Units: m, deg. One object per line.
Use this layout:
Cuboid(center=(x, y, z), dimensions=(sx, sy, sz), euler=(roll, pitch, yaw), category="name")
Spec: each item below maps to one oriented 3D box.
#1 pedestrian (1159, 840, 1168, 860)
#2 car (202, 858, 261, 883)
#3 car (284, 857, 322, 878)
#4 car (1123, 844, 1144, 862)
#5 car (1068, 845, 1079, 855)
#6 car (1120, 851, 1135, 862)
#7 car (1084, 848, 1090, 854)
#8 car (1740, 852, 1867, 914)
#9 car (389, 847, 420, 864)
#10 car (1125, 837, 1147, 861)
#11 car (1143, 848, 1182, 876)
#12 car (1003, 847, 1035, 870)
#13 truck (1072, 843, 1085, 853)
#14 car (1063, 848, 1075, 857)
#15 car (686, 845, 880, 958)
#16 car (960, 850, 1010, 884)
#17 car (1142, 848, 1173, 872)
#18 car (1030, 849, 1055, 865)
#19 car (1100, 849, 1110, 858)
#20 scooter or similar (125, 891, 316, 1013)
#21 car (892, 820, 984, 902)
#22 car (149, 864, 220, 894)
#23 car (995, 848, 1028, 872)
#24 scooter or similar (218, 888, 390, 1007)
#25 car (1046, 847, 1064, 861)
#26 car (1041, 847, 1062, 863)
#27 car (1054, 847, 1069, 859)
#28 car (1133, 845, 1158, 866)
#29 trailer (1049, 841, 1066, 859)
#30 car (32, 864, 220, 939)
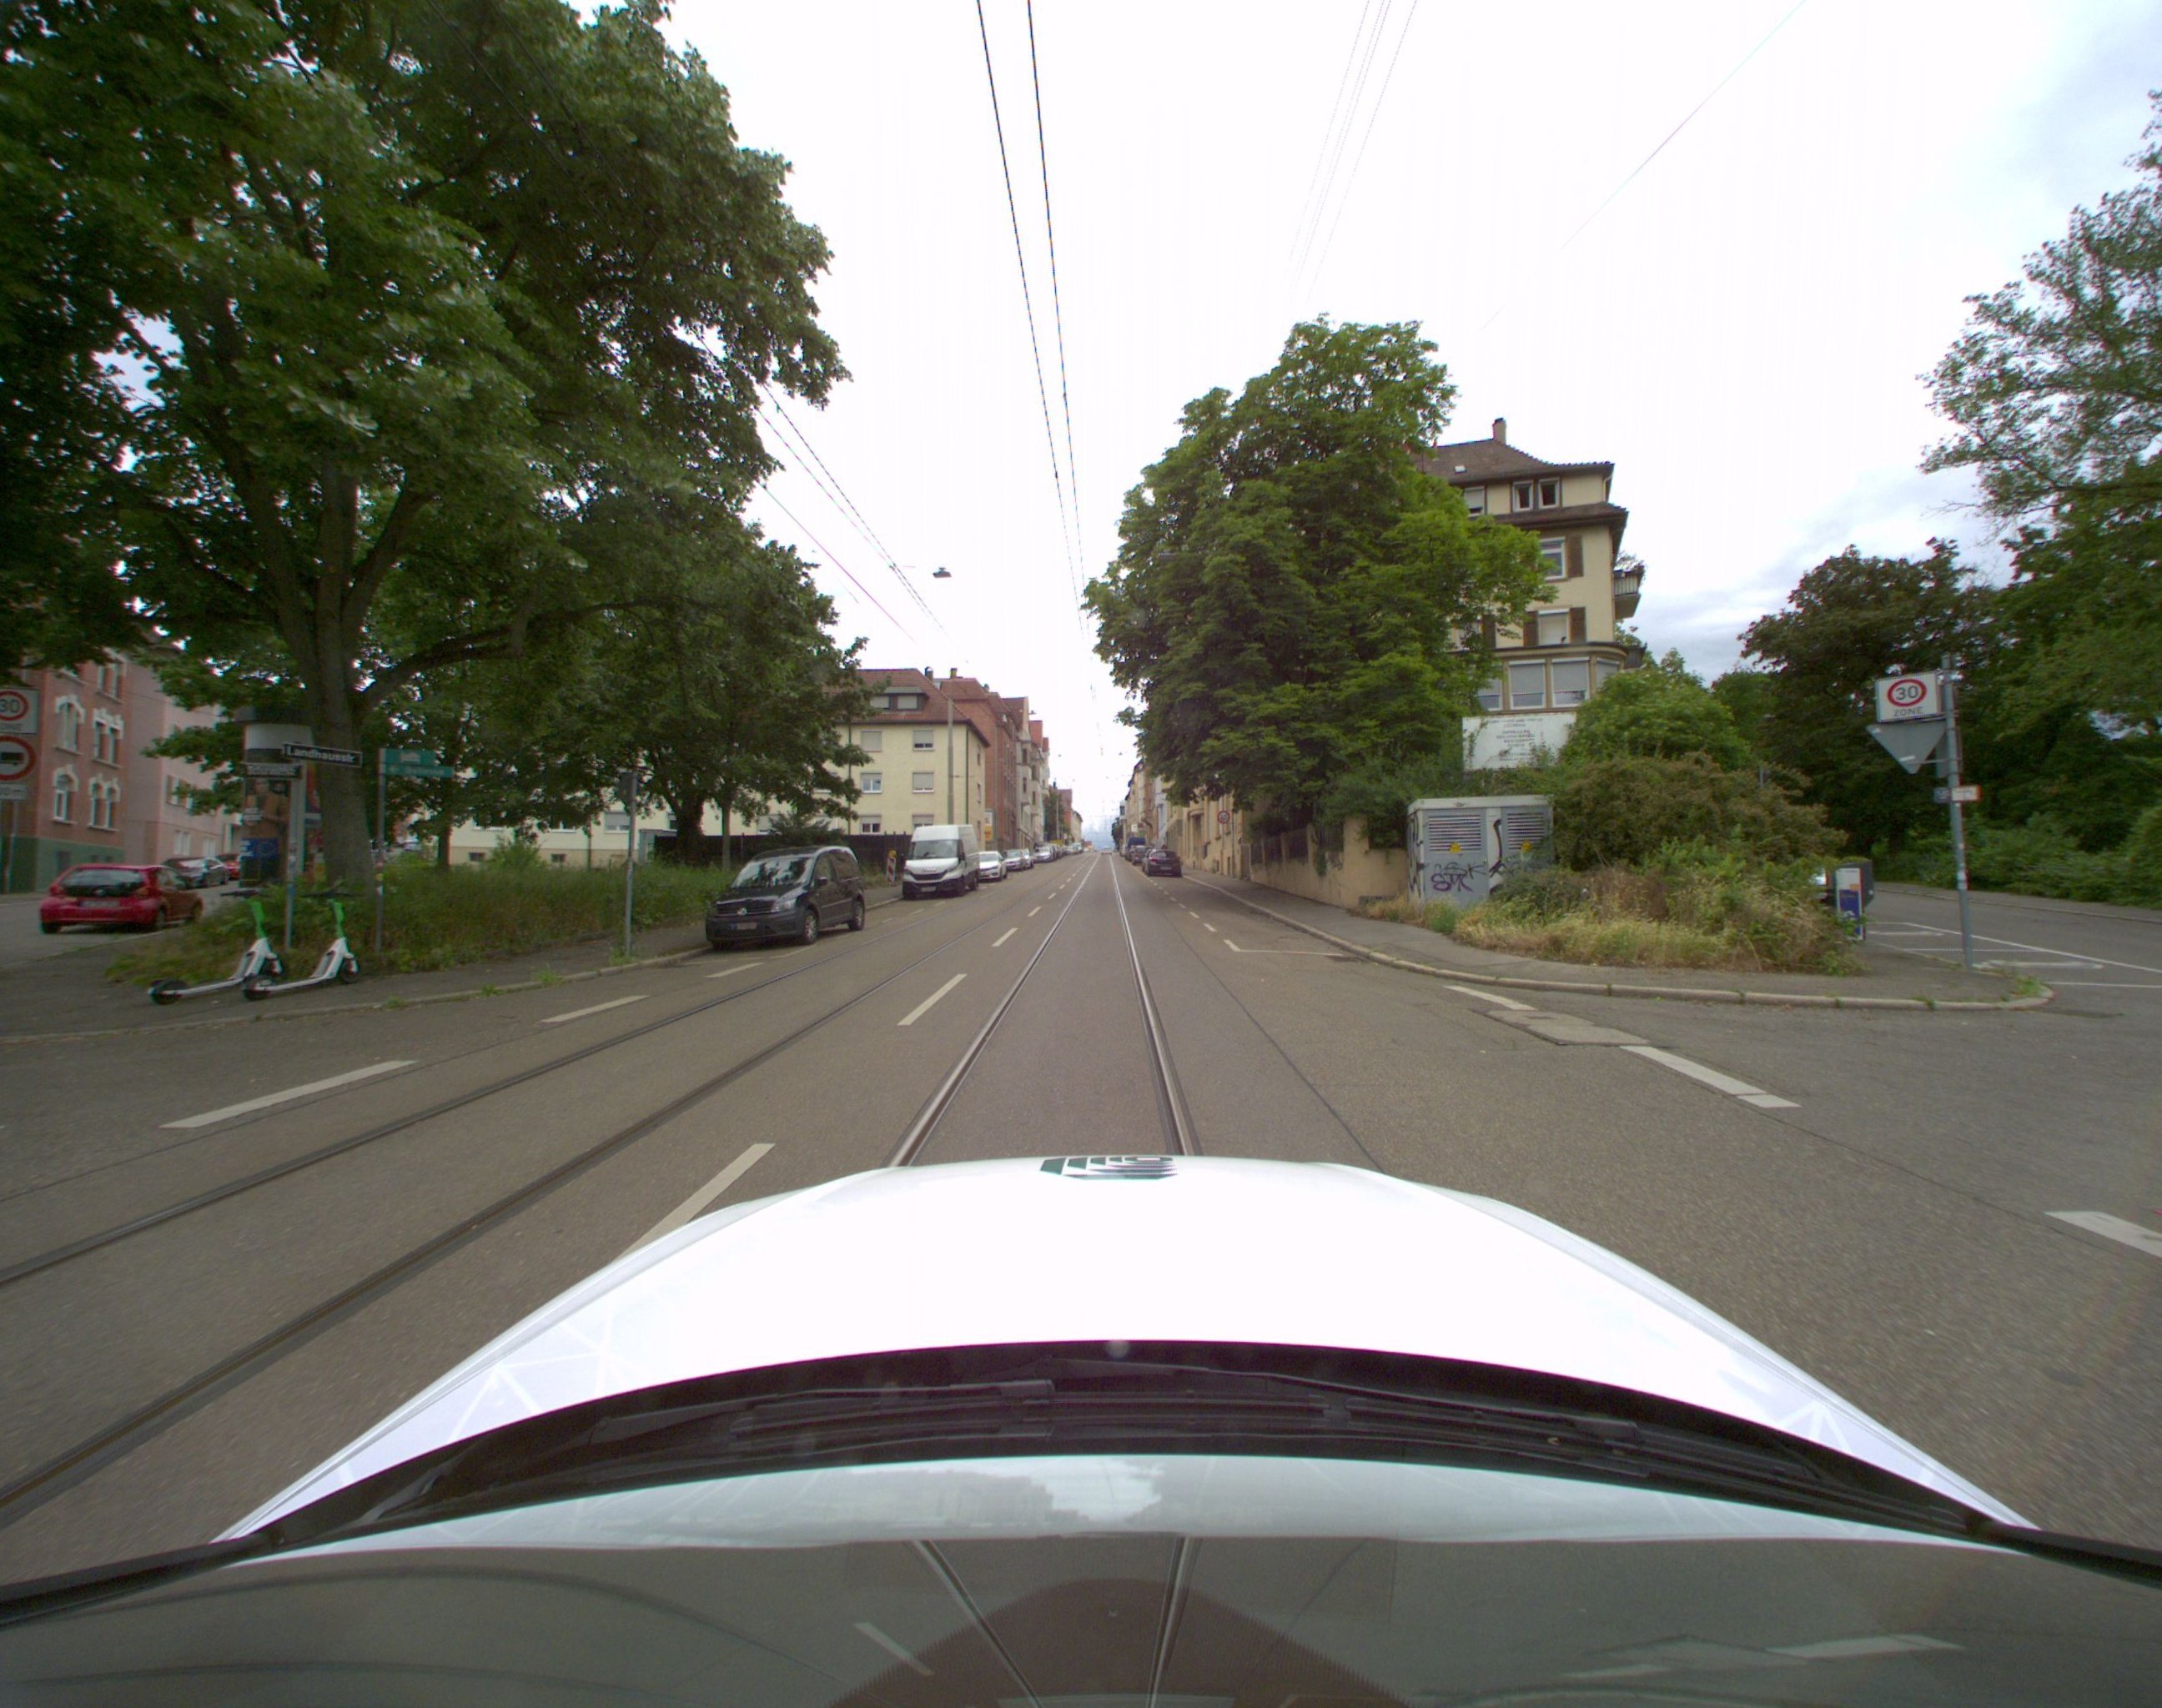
Cuboid(center=(7.281, -0.314, 71.530), dimensions=(0.540, 1.682, 0.515), euler=(-5, -2, -7), category="pedestrian")
Cuboid(center=(-45.068, 0.854, 43.269), dimensions=(1.463, 1.235, 3.740), euler=(0, 0, -35), category="car")
Cuboid(center=(-57.204, 1.017, 59.933), dimensions=(1.464, 1.479, 3.739), euler=(1, -2, -35), category="car")
Cuboid(center=(4.994, -0.097, 77.516), dimensions=(1.773, 1.530, 4.193), euler=(3, 0, 1), category="car")
Cuboid(center=(-1.337, -0.797, 152.289), dimensions=(1.736, 1.735, 4.523), euler=(-2, 0, 3), category="car")
Cuboid(center=(5.935, 0.281, 104.736), dimensions=(1.744, 1.390, 4.308), euler=(2, 0, 1), category="car")
Cuboid(center=(1.834, -0.943, 245.117), dimensions=(1.848, 1.607, 4.299), euler=(0, 0, 2), category="car")
Cuboid(center=(19.938, 0.748, 22.689), dimensions=(1.823, 1.534, 4.533), euler=(-1, -1, 31), category="car")
Cuboid(center=(-58.158, 0.092, 70.074), dimensions=(1.683, 1.415, 3.691), euler=(0, 0, -35), category="car")
Cuboid(center=(5.575, -0.485, 83.060), dimensions=(1.986, 2.376, 5.058), euler=(0, 0, 2), category="car")
Cuboid(center=(4.379, 0.428, 44.229), dimensions=(1.833, 1.403, 4.169), euler=(1, 0, 2), category="car")
Cuboid(center=(-4.398, 0.313, 58.249), dimensions=(1.822, 1.429, 4.627), euler=(-4, 1, 0), category="car")
Cuboid(center=(-0.527, -1.306, 178.764), dimensions=(2.271, 2.188, 8.031), euler=(0, 0, 3), category="truck")
Cuboid(center=(-2.093, -0.332, 140.989), dimensions=(1.689, 1.556, 3.853), euler=(0, 0, 3), category="car")
Cuboid(center=(-5.576, 0.786, 15.985), dimensions=(1.755, 1.775, 4.672), euler=(-4, 0, 3), category="car")
Cuboid(center=(-4.643, 0.589, 39.882), dimensions=(1.712, 1.403, 4.315), euler=(-4, 1, 2), category="car")
Cuboid(center=(4.691, 0.340, 50.372), dimensions=(1.688, 1.404, 3.670), euler=(2, 1, 2), category="car")
Cuboid(center=(-3.624, 0.265, 77.349), dimensions=(1.820, 1.429, 4.842), euler=(-3, 1, 2), category="car")
Cuboid(center=(4.314, -0.060, 146.874), dimensions=(1.666, 1.513, 3.798), euler=(-1, 0, 1), category="car")
Cuboid(center=(-9.797, 1.064, 9.367), dimensions=(0.310, 1.145, 1.719), euler=(0, 2, 2), category="scooter or similar")
Cuboid(center=(-5.154, 0.188, 30.375), dimensions=(2.151, 2.606, 6.219), euler=(-4, 1, 0), category="car")
Cuboid(center=(-40.618, 1.114, 36.969), dimensions=(1.463, 1.235, 3.384), euler=(0, 0, -35), category="car")
Cuboid(center=(-4.505, 0.391, 53.327), dimensions=(1.594, 1.368, 3.810), euler=(-4, 1, 3), category="car")
Cuboid(center=(-9.043, 1.039, 9.577), dimensions=(0.310, 1.145, 1.719), euler=(0, 2, 2), category="scooter or similar")
Cuboid(center=(-3.066, 0.007, 97.137), dimensions=(1.690, 1.593, 4.271), euler=(-3, 1, 2), category="car")
Cuboid(center=(-3.230, 0.061, 90.589), dimensions=(1.866, 1.664, 4.895), euler=(-3, 1, 2), category="car")
Cuboid(center=(-2.698, -0.153, 113.046), dimensions=(1.690, 1.468, 3.025), euler=(-3, 0, 2), category="car")
Cuboid(center=(5.140, 0.103, 65.480), dimensions=(1.820, 1.519, 4.030), euler=(2, 1, 2), category="car")
Cuboid(center=(-2.852, -0.482, 101.303), dimensions=(1.741, 2.155, 4.074), euler=(-3, 1, 2), category="trailer")
Cuboid(center=(-21.226, 0.978, 18.303), dimensions=(1.658, 1.415, 3.694), euler=(0, 0, -31), category="car")
